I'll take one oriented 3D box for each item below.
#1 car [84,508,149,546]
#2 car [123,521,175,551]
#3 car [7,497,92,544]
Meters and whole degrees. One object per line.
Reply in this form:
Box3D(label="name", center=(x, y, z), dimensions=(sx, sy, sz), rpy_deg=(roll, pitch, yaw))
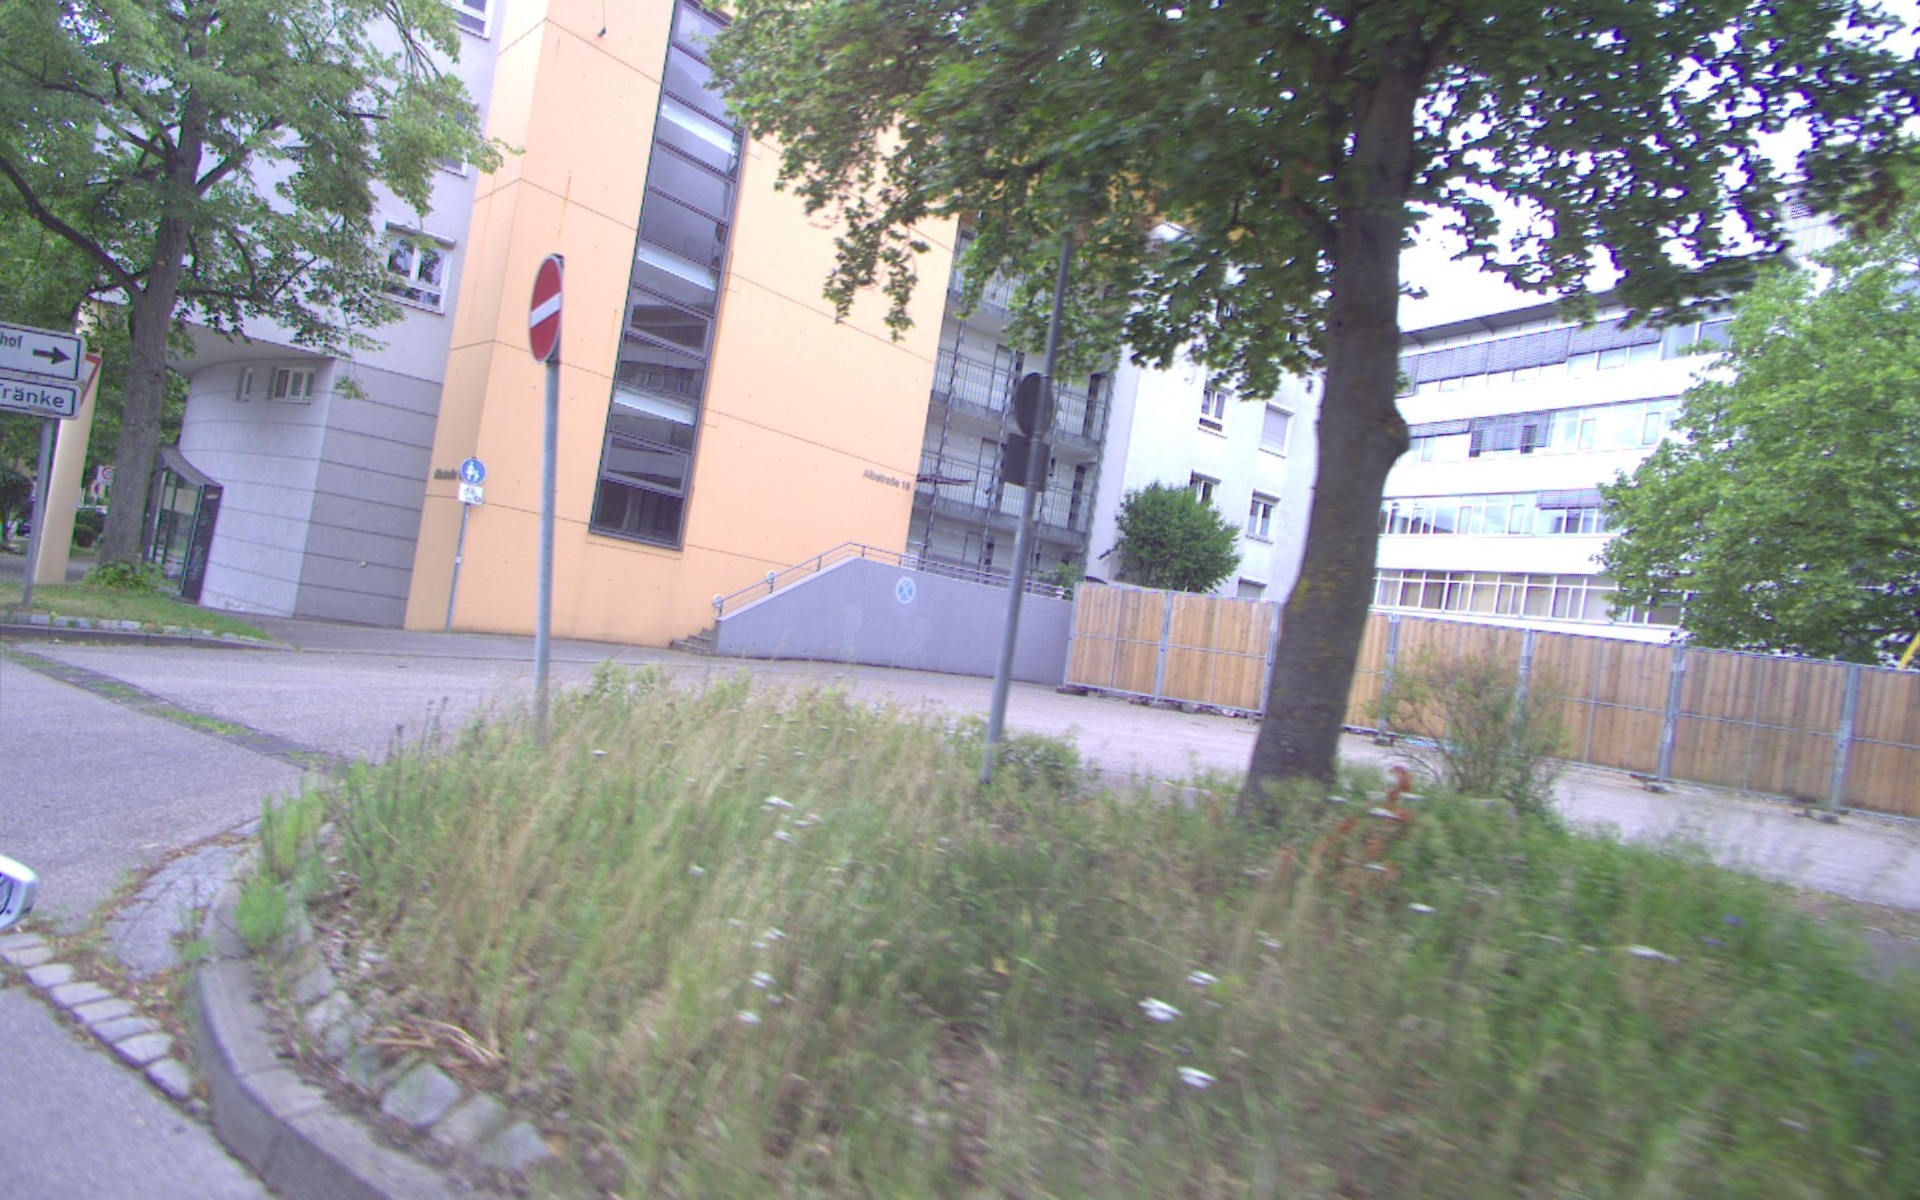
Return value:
Box3D(label="car", center=(-46.347, -3.967, 55.359), dimensions=(1.767, 1.614, 4.218), rpy_deg=(11, -4, -29))
Box3D(label="car", center=(-49.714, -3.892, 61.733), dimensions=(1.632, 1.389, 3.422), rpy_deg=(12, -4, -27))
Box3D(label="car", center=(-40.887, -3.527, 45.295), dimensions=(1.864, 1.584, 3.988), rpy_deg=(12, -4, -31))
